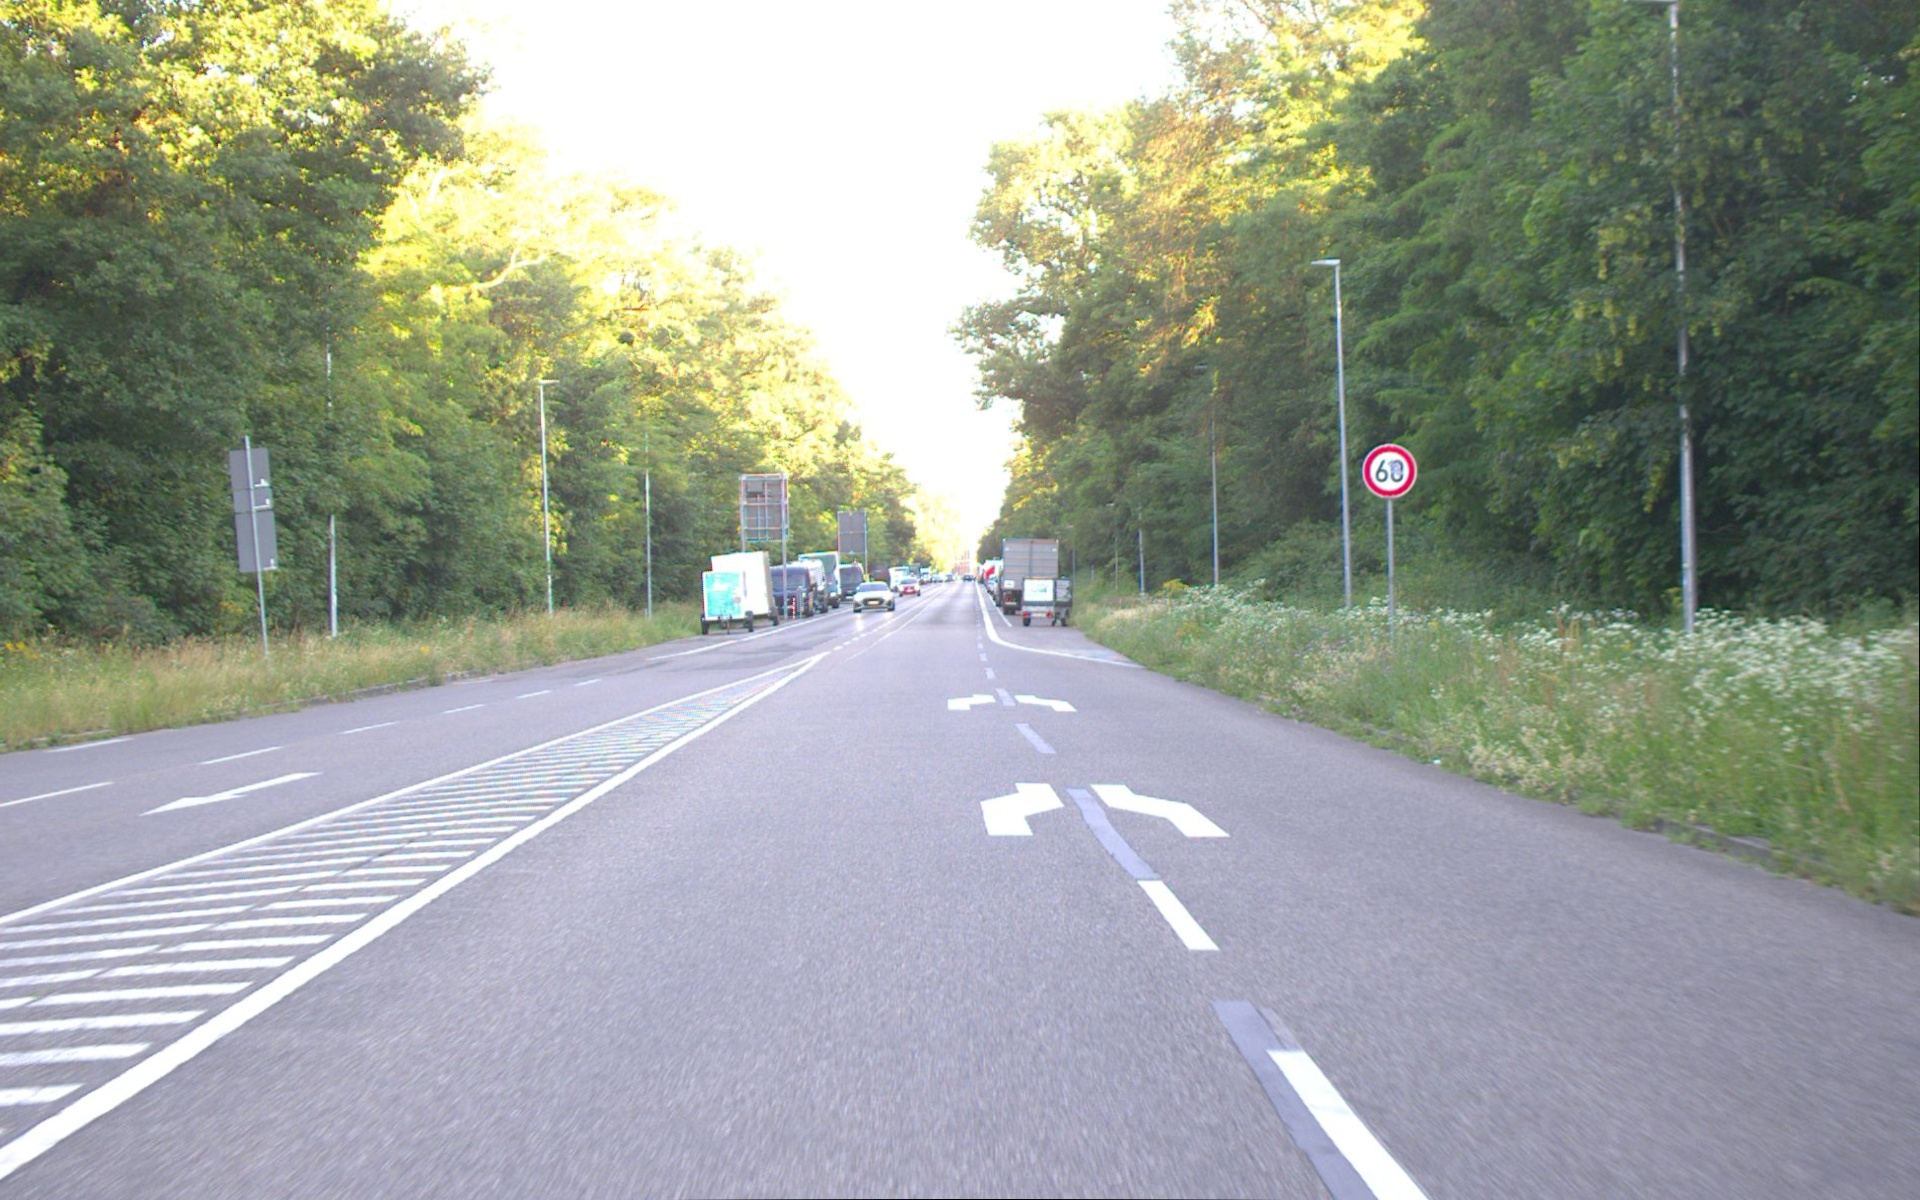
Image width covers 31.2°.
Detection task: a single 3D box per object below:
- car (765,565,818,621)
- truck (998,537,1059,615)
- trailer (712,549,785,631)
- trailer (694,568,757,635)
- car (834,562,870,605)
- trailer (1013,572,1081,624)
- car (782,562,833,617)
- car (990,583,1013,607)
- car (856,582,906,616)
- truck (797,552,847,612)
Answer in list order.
[{"bbox_3d":[-7.663,-0.328,156.791,1.993,2.356,5.766,-4,0,0],"label":"car"},{"bbox_3d":[2.972,-1.016,147.788,2.589,3.244,7.220,0,0,2],"label":"truck"},{"bbox_3d":[-8.052,-0.400,131.327,2.326,2.914,5.627,-4,0,0],"label":"trailer"},{"bbox_3d":[-7.866,0.032,115.715,1.817,2.160,4.143,-2,0,-1],"label":"trailer"},{"bbox_3d":[-7.359,-1.121,234.407,2.186,2.779,5.334,-2,0,0],"label":"car"},{"bbox_3d":[2.927,-0.087,115.193,1.457,1.656,3.775,-2,0,13],"label":"trailer"},{"bbox_3d":[-7.706,-0.560,174.186,2.249,2.638,5.721,-2,0,0],"label":"car"},{"bbox_3d":[2.673,-0.315,220.749,1.147,1.247,2.754,-11,2,-2],"label":"car"},{"bbox_3d":[-3.865,-0.066,168.951,2.064,1.430,4.465,-3,1,2],"label":"car"},{"bbox_3d":[-7.995,-1.063,199.765,2.504,3.317,6.842,-2,0,0],"label":"truck"}]
